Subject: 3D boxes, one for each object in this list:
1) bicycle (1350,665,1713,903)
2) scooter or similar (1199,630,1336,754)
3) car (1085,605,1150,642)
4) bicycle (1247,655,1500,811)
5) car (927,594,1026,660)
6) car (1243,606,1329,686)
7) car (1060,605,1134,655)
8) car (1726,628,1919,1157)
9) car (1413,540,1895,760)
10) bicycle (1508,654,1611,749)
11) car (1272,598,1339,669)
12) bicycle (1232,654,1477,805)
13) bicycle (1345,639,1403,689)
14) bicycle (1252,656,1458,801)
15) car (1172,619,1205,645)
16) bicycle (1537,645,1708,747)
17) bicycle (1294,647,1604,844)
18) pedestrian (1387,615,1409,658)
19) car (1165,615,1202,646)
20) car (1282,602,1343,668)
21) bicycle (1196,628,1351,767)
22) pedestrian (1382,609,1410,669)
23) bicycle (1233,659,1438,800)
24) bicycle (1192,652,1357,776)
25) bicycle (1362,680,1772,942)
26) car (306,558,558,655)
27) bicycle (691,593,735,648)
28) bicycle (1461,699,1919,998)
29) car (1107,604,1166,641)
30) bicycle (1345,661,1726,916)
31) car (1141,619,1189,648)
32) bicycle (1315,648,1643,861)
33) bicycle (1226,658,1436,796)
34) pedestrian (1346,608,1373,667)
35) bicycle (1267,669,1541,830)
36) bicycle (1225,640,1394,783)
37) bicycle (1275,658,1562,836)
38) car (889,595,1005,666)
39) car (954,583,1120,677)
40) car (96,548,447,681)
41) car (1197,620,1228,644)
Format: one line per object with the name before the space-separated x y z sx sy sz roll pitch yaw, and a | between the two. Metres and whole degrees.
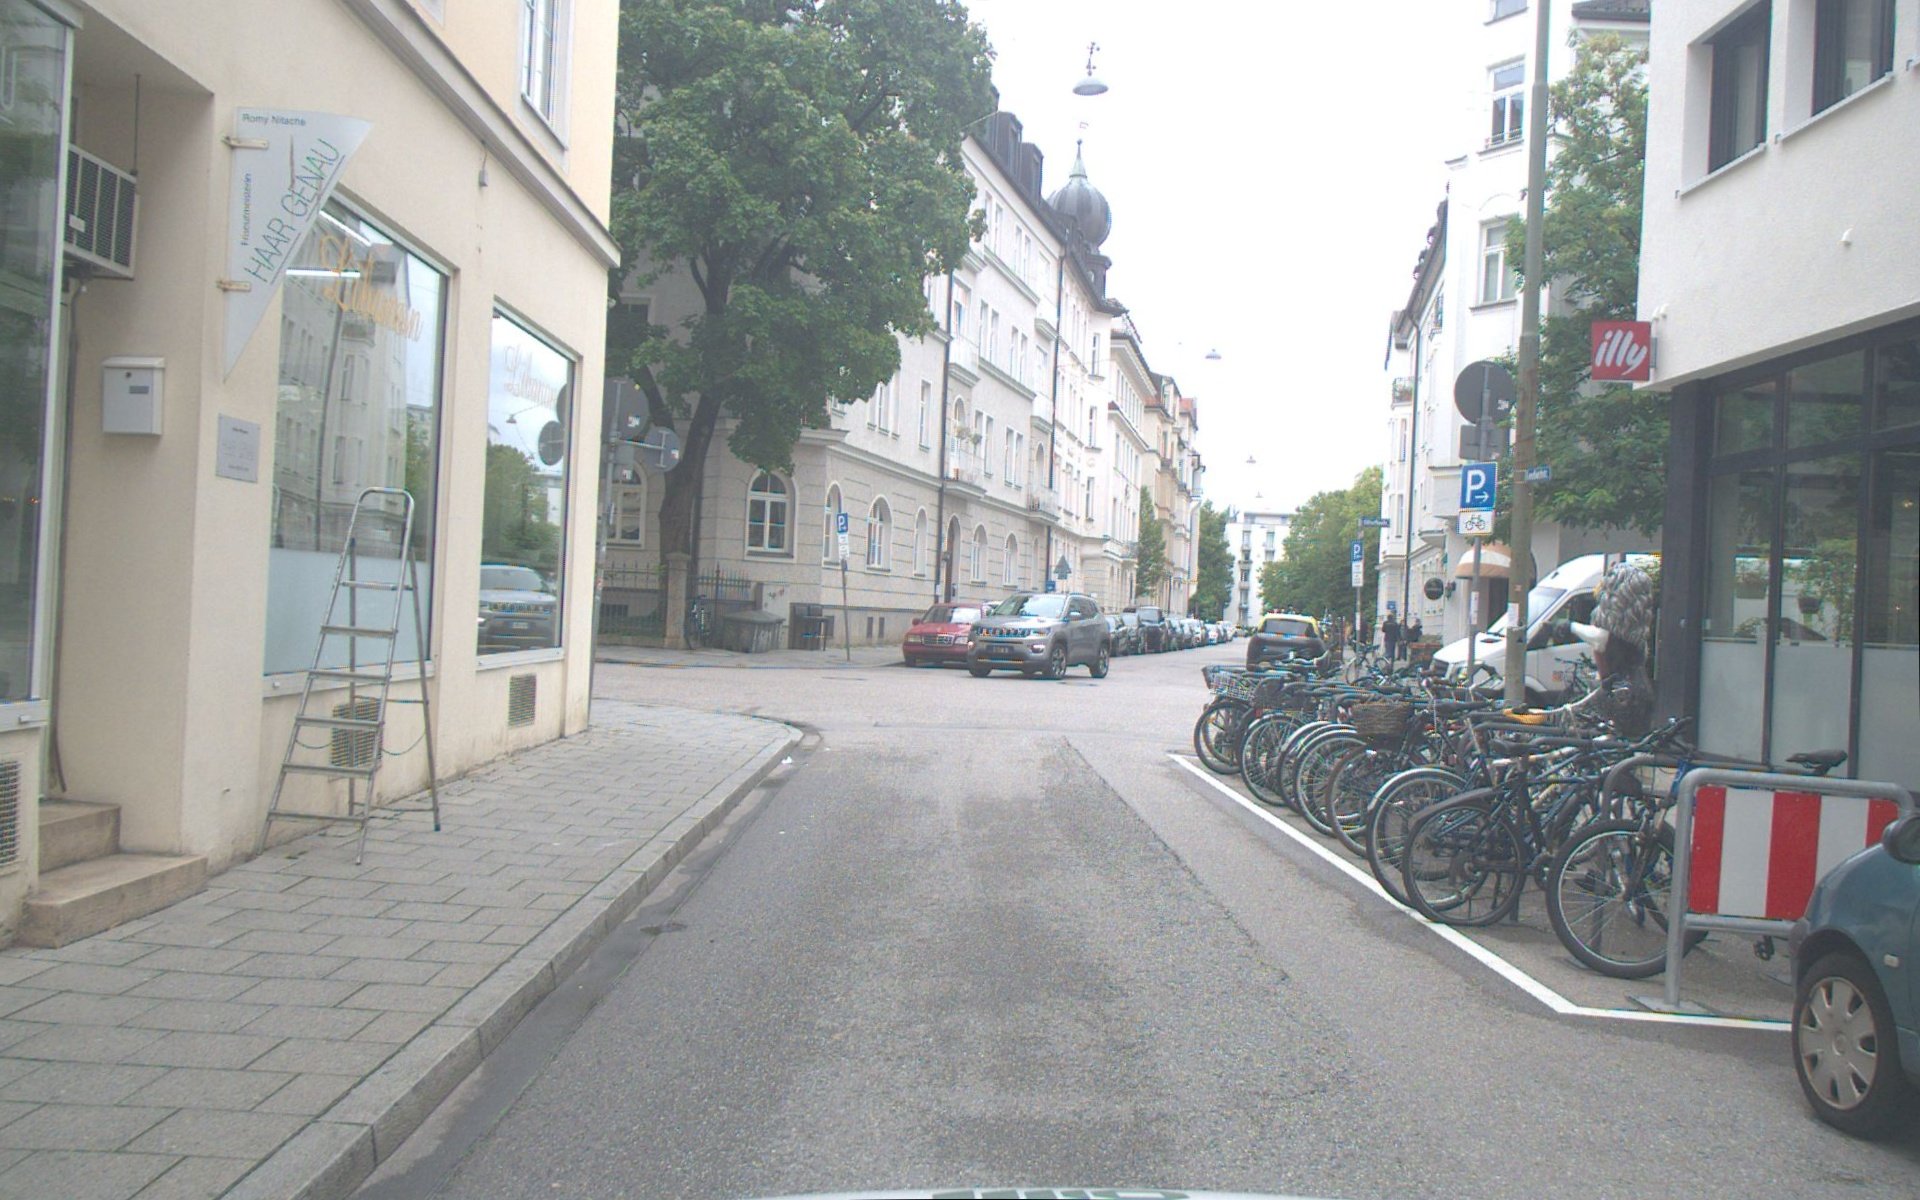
bicycle | 3.281 1.050 9.575 1.836 1.177 0.565 4 1 -3
scooter or similar | 3.263 0.973 17.598 1.325 1.231 0.417 3 0 1
car | 6.040 0.896 63.166 1.866 1.243 4.003 3 0 14
bicycle | 3.208 1.030 12.878 1.837 1.098 0.402 3 1 -4
car | 0.482 0.669 42.028 1.951 1.499 4.222 3 0 8
car | 7.902 1.080 39.879 1.782 1.664 4.292 5 0 13
car | 4.789 1.027 57.490 1.885 1.573 4.003 3 0 14
car | 3.580 0.886 4.075 1.549 1.489 3.549 3 0 -3
car | 9.561 0.639 23.213 5.770 2.636 2.061 3 1 4
bicycle | 7.760 1.313 21.423 1.153 1.147 0.340 3 0 6
car | 10.485 0.989 50.053 1.782 1.903 4.292 5 0 13
bicycle | 3.167 1.039 13.316 1.837 1.098 0.408 3 1 -4
bicycle | 8.957 1.371 35.832 0.529 1.016 1.751 0 0 -10
bicycle | 3.277 1.066 13.758 1.581 1.098 0.378 3 1 -4
car | 13.336 1.845 96.365 1.697 1.444 4.003 3 0 10
bicycle | 8.321 1.197 20.809 1.861 1.147 0.592 3 0 4
bicycle | 3.213 0.951 10.935 1.856 1.190 0.565 2 0 -4
pedestrian | 19.326 1.605 72.952 0.762 1.883 0.859 3 0 20
car | 12.270 1.656 90.497 1.782 1.601 4.003 3 0 10
car | 11.784 1.161 55.205 1.782 1.956 4.186 5 0 13
bicycle | 3.171 0.979 16.800 1.427 1.307 0.445 3 0 0
pedestrian | 14.013 1.241 53.208 0.762 1.883 1.023 3 0 14
bicycle | 3.204 1.104 14.141 1.641 1.098 0.336 3 1 -4
bicycle | 2.995 1.085 15.788 1.424 1.088 0.462 3 0 -8
bicycle | 3.048 1.053 8.369 1.836 1.127 0.488 4 1 -3
car | -9.471 0.114 29.824 3.903 1.474 1.686 3 0 5
bicycle | -5.270 0.419 35.405 0.483 1.070 1.828 3 2 4
bicycle | 3.242 1.081 7.309 1.837 1.098 0.488 5 1 -3
car | 7.255 0.927 67.636 1.866 1.352 4.003 3 0 14
bicycle | 3.072 0.999 8.890 1.836 1.225 0.488 3 1 -3
car | 9.833 1.595 79.166 1.866 1.243 4.003 3 0 12
bicycle | 3.211 0.945 10.306 1.836 1.225 0.579 2 0 -3
bicycle | 3.254 1.109 14.556 1.706 1.098 0.452 3 1 -4
pedestrian | 13.024 1.221 53.954 0.762 1.883 1.023 3 0 14
bicycle | 3.252 1.087 12.180 1.837 1.070 0.564 3 -2 -4
bicycle | 3.237 1.030 15.340 1.424 1.228 0.394 3 0 -8
bicycle | 3.168 1.011 11.477 1.837 1.114 0.439 3 1 -4
car | -0.218 0.665 36.695 1.694 1.402 4.230 3 0 11
car | 1.582 0.574 32.291 1.917 1.635 4.308 2 0 21
car | -9.921 0.173 24.045 4.244 1.541 1.904 3 3 1
car | 17.903 2.239 117.144 1.951 1.601 4.003 3 0 10
